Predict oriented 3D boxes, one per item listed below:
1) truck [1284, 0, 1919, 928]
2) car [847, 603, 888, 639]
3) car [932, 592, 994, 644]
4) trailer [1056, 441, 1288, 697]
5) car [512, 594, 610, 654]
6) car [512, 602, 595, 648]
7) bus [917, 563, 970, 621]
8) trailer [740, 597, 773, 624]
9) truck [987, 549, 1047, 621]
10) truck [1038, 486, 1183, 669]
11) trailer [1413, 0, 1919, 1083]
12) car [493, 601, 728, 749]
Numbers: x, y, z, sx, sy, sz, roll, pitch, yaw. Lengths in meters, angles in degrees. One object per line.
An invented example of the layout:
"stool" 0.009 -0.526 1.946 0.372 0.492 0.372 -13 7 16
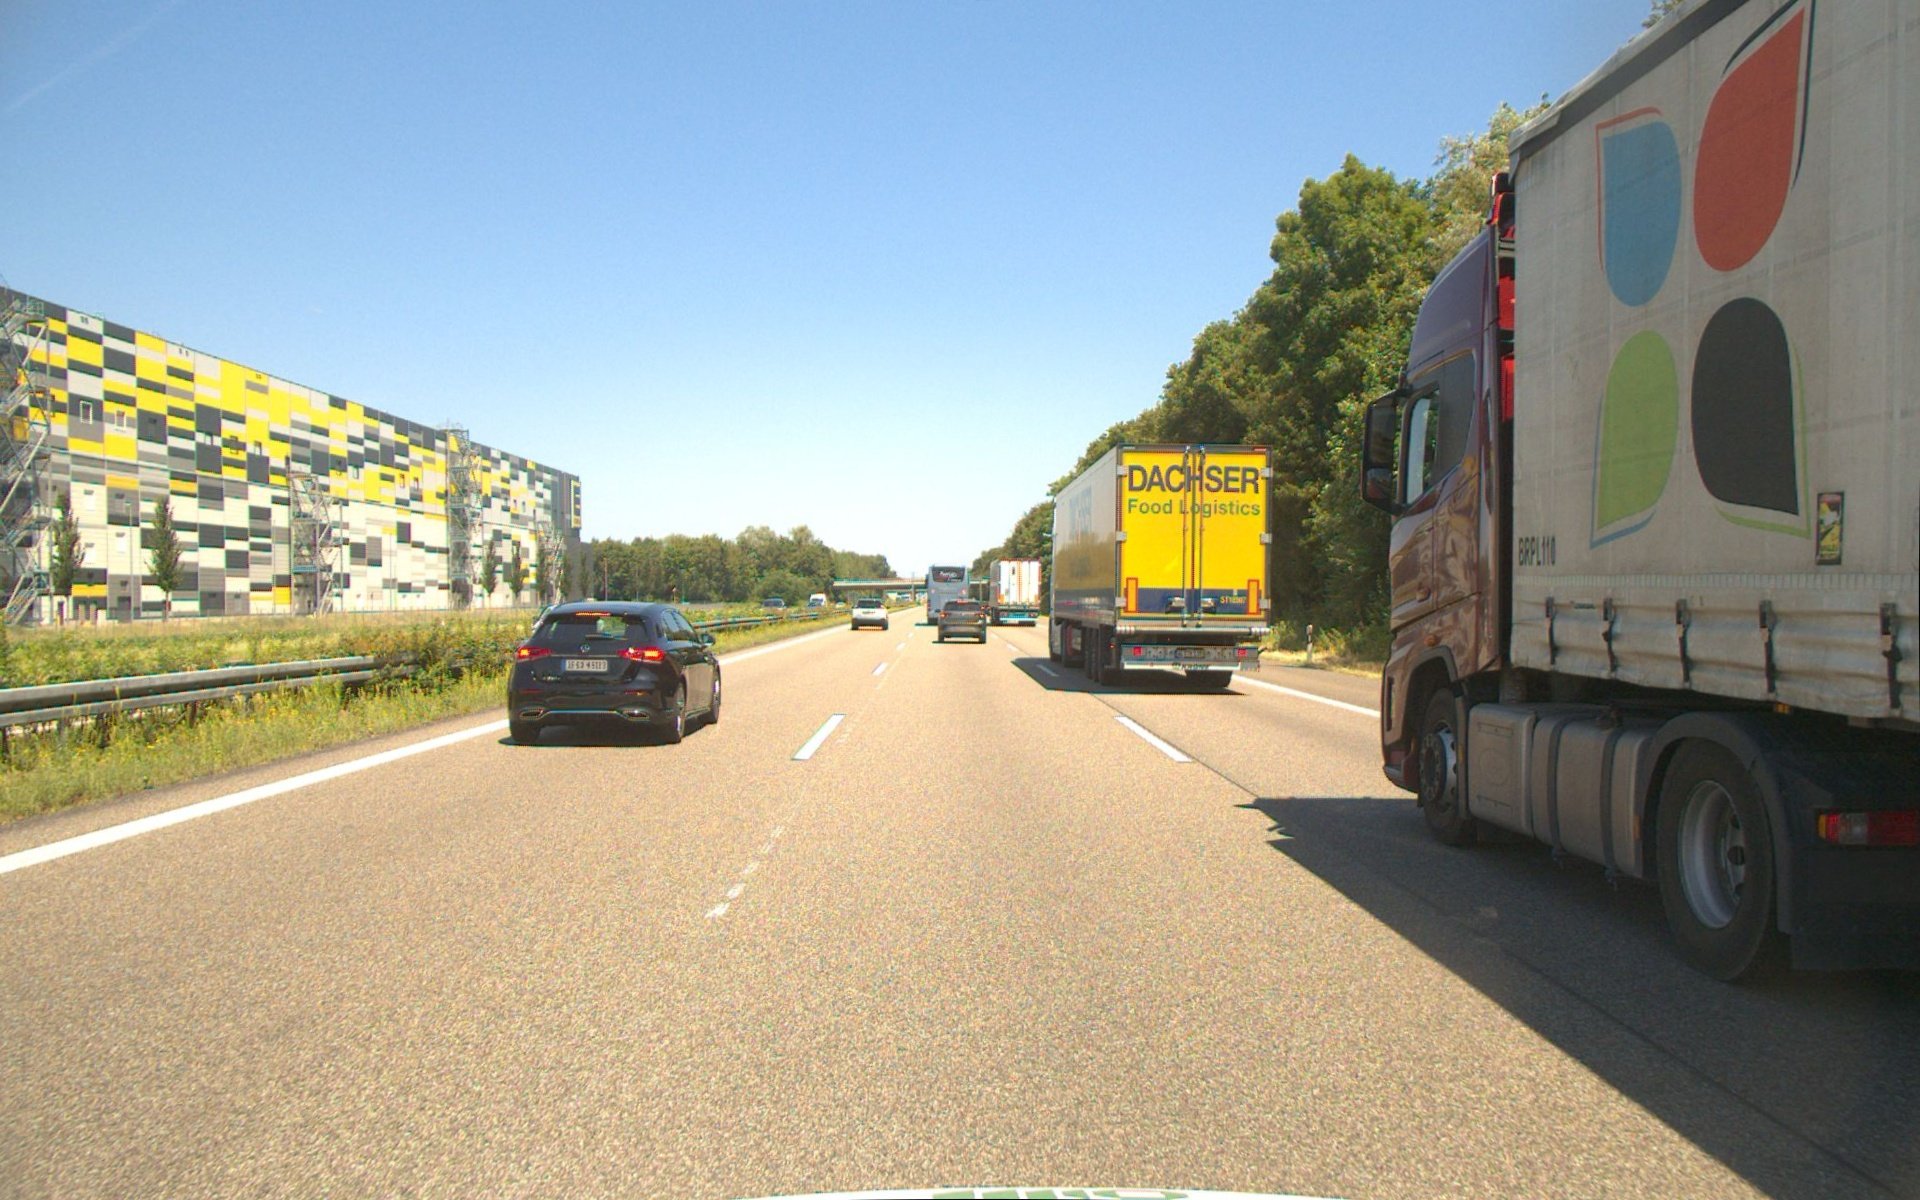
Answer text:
"truck" 4.276 -0.712 10.752 3.025 4.519 6.051 1 -1 -1
"car" -4.622 1.047 82.920 1.953 1.758 4.129 0 0 -2
"car" 0.070 0.636 60.748 2.171 1.821 5.392 -1 0 -1
"trailer" 3.688 -0.504 31.944 2.777 4.023 11.681 0 0 -1
"car" -13.163 0.766 54.882 2.004 1.838 5.417 -1 0 -1
"car" -17.602 1.050 71.934 2.269 1.847 5.350 -1 0 0
"bus" -1.064 -0.475 101.723 3.001 3.385 8.270 -1 0 -2
"trailer" -14.783 0.751 120.570 1.905 1.821 5.235 -1 0 -2
"truck" 3.436 -0.901 102.267 3.352 4.198 9.564 -1 0 0
"truck" 3.519 -0.508 40.206 2.756 4.076 6.643 0 0 -1
"trailer" 4.566 -0.775 3.340 3.043 4.585 14.893 0 0 -1
"car" -3.725 0.740 18.310 1.755 1.436 4.052 0 0 -1
